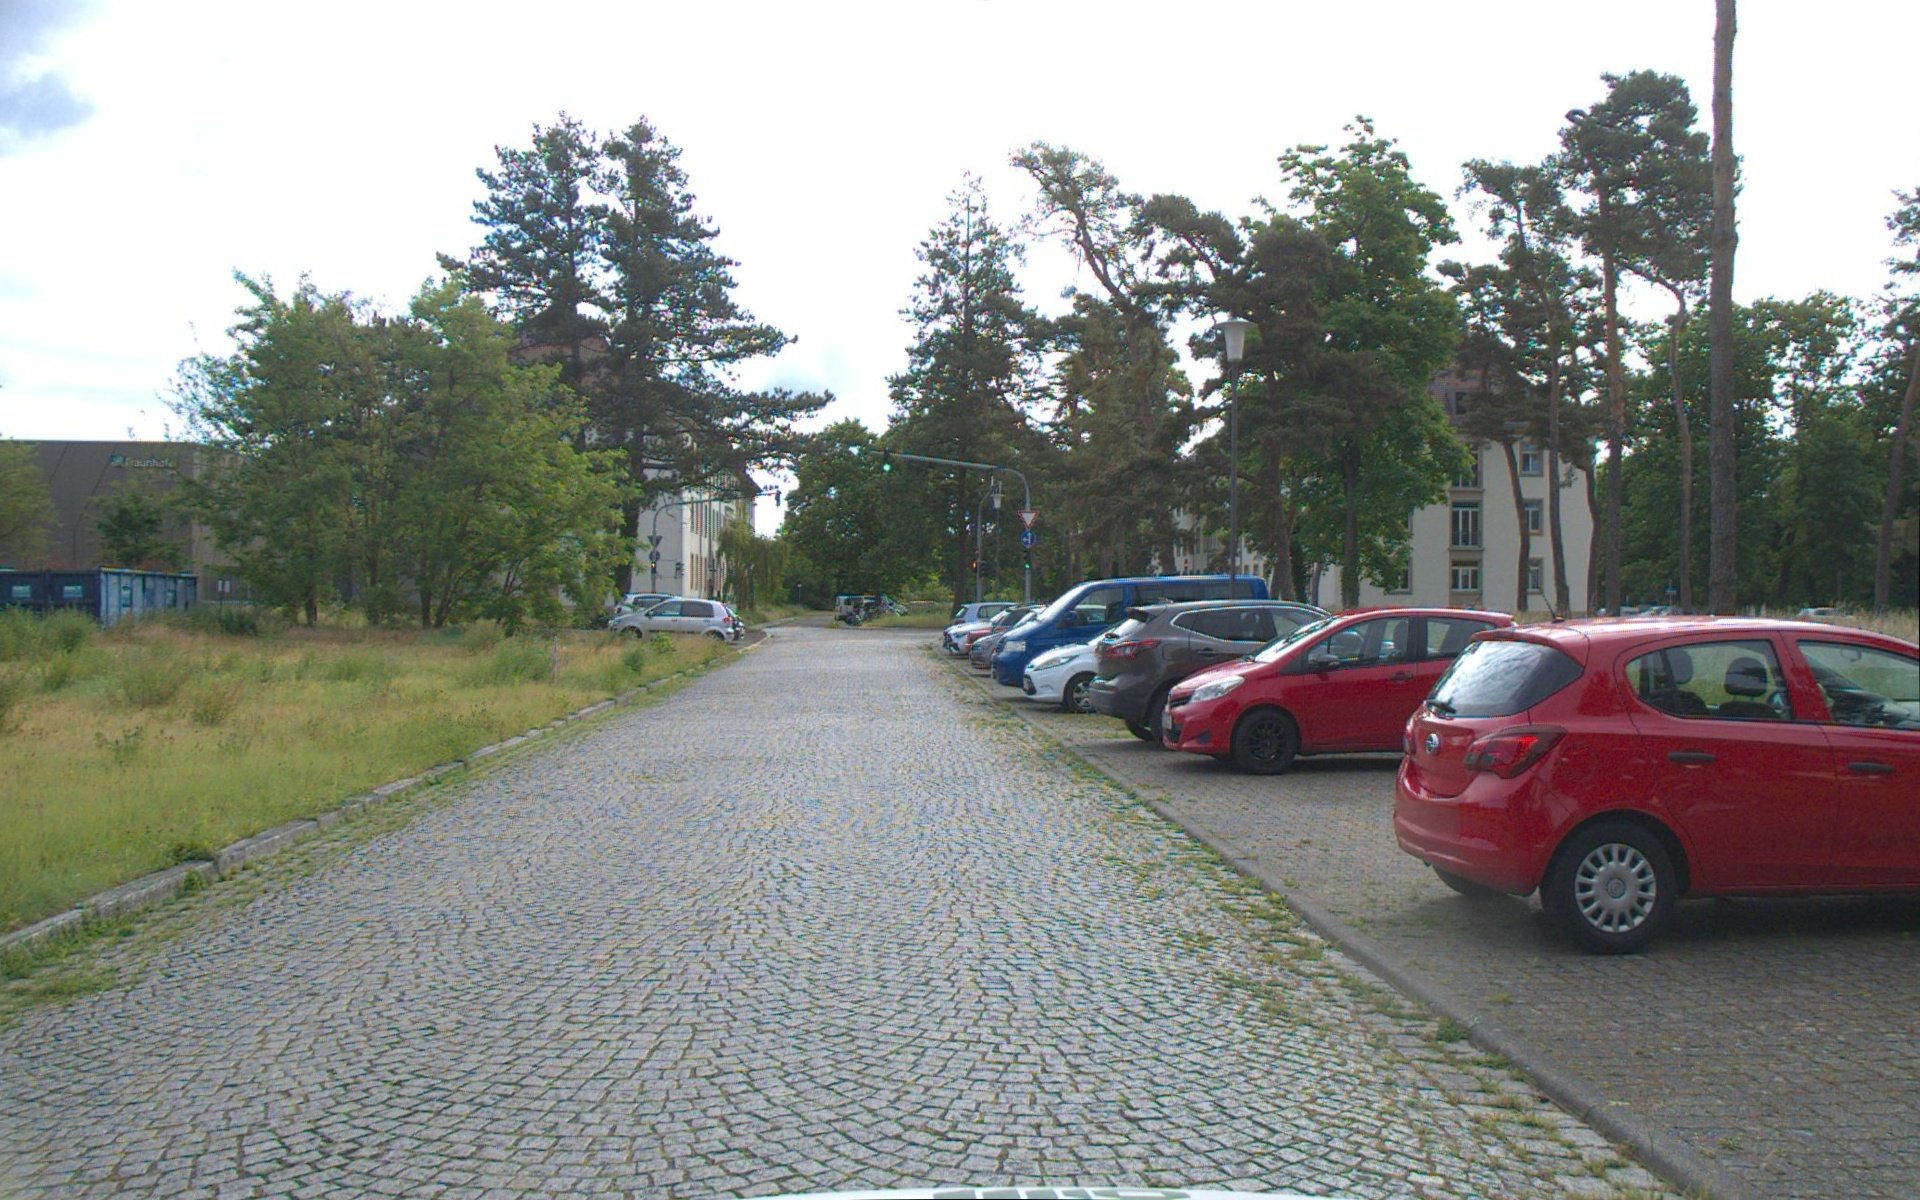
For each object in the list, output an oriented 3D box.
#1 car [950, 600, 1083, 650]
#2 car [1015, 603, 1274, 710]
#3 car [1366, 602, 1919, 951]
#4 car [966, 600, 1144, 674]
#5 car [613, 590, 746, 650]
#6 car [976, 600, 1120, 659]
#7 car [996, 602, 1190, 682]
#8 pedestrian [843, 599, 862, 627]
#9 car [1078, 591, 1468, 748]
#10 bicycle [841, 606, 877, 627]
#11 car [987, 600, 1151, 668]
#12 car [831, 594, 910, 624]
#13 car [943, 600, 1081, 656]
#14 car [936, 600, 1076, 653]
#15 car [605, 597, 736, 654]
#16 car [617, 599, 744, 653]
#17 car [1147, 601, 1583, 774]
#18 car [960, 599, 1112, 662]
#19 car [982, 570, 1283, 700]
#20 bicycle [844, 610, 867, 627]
[{"bbox_3d":[1.718,0.765,51.265,3.894,1.446,1.617,-1,0,-8],"label":"car"},{"bbox_3d":[2.732,0.816,24.903,3.601,1.475,1.612,-1,0,-6],"label":"car"},{"bbox_3d":[4.179,0.776,8.359,3.751,1.486,1.777,-1,0,-5],"label":"car"},{"bbox_3d":[2.012,0.778,35.521,3.601,1.475,1.522,-1,0,-6],"label":"car"},{"bbox_3d":[-9.261,0.650,54.843,4.178,1.873,1.742,-1,0,-5],"label":"car"},{"bbox_3d":[2.297,0.764,43.533,3.601,1.475,1.522,-1,0,-6],"label":"car"},{"bbox_3d":[2.604,0.807,32.778,3.601,1.475,1.522,-1,0,-6],"label":"car"},{"bbox_3d":[-6.478,0.783,99.546,1.015,1.642,0.756,1,-1,-10],"label":"pedestrian"},{"bbox_3d":[3.435,0.737,18.565,3.951,1.580,1.748,-1,0,-6],"label":"car"},{"bbox_3d":[-6.071,0.994,99.384,2.097,1.236,0.621,1,-1,-9],"label":"bicycle"},{"bbox_3d":[2.507,0.770,38.549,3.601,1.475,1.522,-1,0,-6],"label":"car"},{"bbox_3d":[-6.378,0.628,117.652,5.351,2.049,2.261,1,0,-13],"label":"car"},{"bbox_3d":[1.427,0.764,45.729,3.603,1.446,1.521,-1,0,-8],"label":"car"},{"bbox_3d":[1.328,0.776,48.583,3.894,1.446,1.617,-1,0,-8],"label":"car"},{"bbox_3d":[-8.616,0.765,49.474,3.749,1.600,1.562,-1,0,-7],"label":"car"},{"bbox_3d":[-8.729,0.809,51.886,3.746,1.600,1.563,-1,0,-5],"label":"car"},{"bbox_3d":[3.800,0.793,15.935,3.717,1.486,1.750,-1,0,-4],"label":"car"},{"bbox_3d":[1.866,0.752,41.215,3.601,1.475,1.522,-1,0,-6],"label":"car"},{"bbox_3d":[2.806,0.566,27.507,4.662,1.989,1.929,-1,0,-6],"label":"car"},{"bbox_3d":[-6.033,1.082,95.657,0.614,0.961,1.645,1,0,-31],"label":"bicycle"}]
